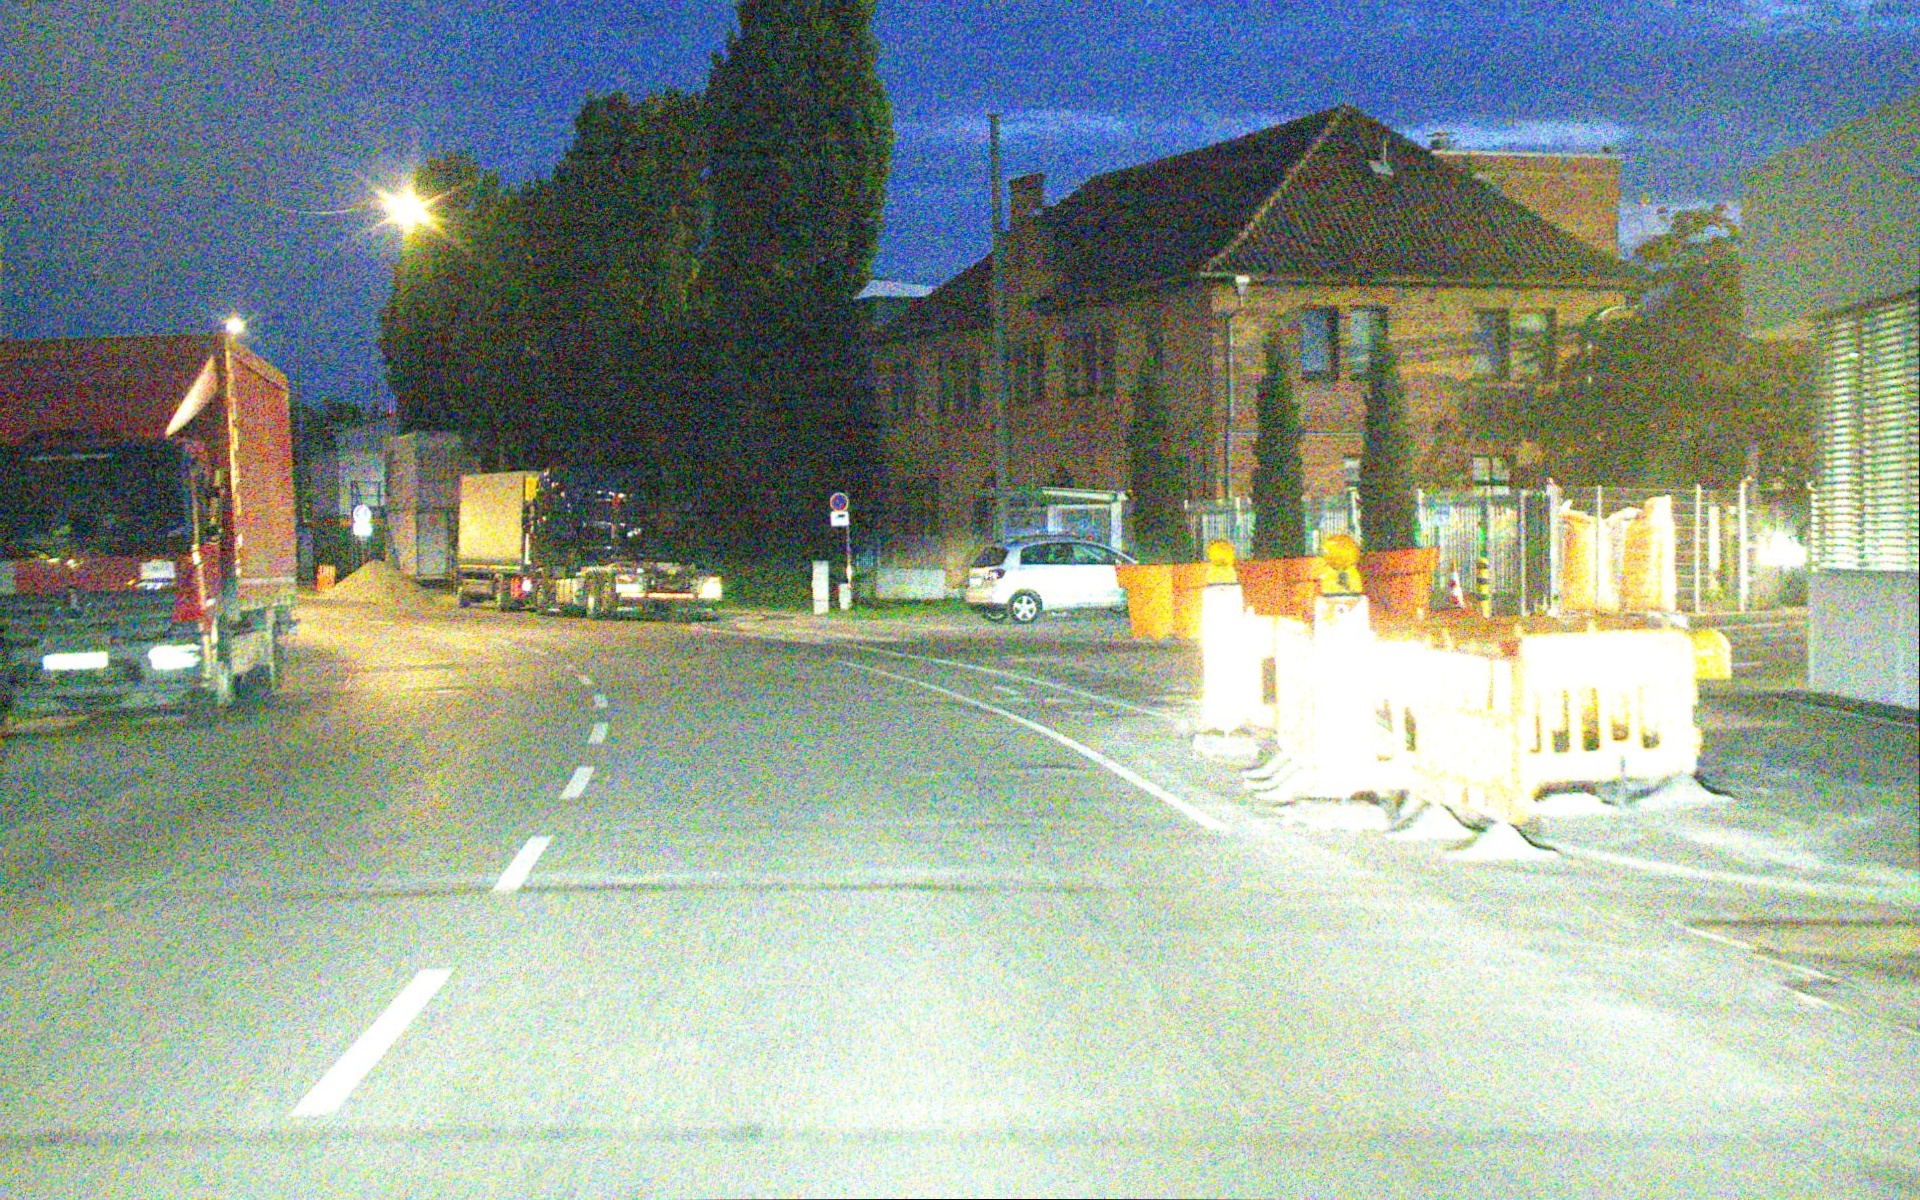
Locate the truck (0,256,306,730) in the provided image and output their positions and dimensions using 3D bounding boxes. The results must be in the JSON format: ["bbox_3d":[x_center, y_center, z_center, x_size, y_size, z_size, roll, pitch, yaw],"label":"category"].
[{"bbox_3d":[-8.355,-1.022,34.524,2.772,4.106,9.343,-1,1,-7],"label":"truck"}]

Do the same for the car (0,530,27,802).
[{"bbox_3d":[-6.920,0.467,19.827,1.943,1.711,5.199,-1,1,-4],"label":"car"}]

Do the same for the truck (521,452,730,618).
[{"bbox_3d":[-8.186,-1.560,82.857,2.754,3.770,9.140,-1,1,-20],"label":"truck"}]

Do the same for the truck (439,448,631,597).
[{"bbox_3d":[-11.563,-2.057,92.520,2.754,3.770,10.228,-1,1,-21],"label":"truck"}]

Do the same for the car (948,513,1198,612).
[{"bbox_3d":[2.153,-0.737,65.768,4.325,1.640,1.893,-4,3,-21],"label":"car"}]
